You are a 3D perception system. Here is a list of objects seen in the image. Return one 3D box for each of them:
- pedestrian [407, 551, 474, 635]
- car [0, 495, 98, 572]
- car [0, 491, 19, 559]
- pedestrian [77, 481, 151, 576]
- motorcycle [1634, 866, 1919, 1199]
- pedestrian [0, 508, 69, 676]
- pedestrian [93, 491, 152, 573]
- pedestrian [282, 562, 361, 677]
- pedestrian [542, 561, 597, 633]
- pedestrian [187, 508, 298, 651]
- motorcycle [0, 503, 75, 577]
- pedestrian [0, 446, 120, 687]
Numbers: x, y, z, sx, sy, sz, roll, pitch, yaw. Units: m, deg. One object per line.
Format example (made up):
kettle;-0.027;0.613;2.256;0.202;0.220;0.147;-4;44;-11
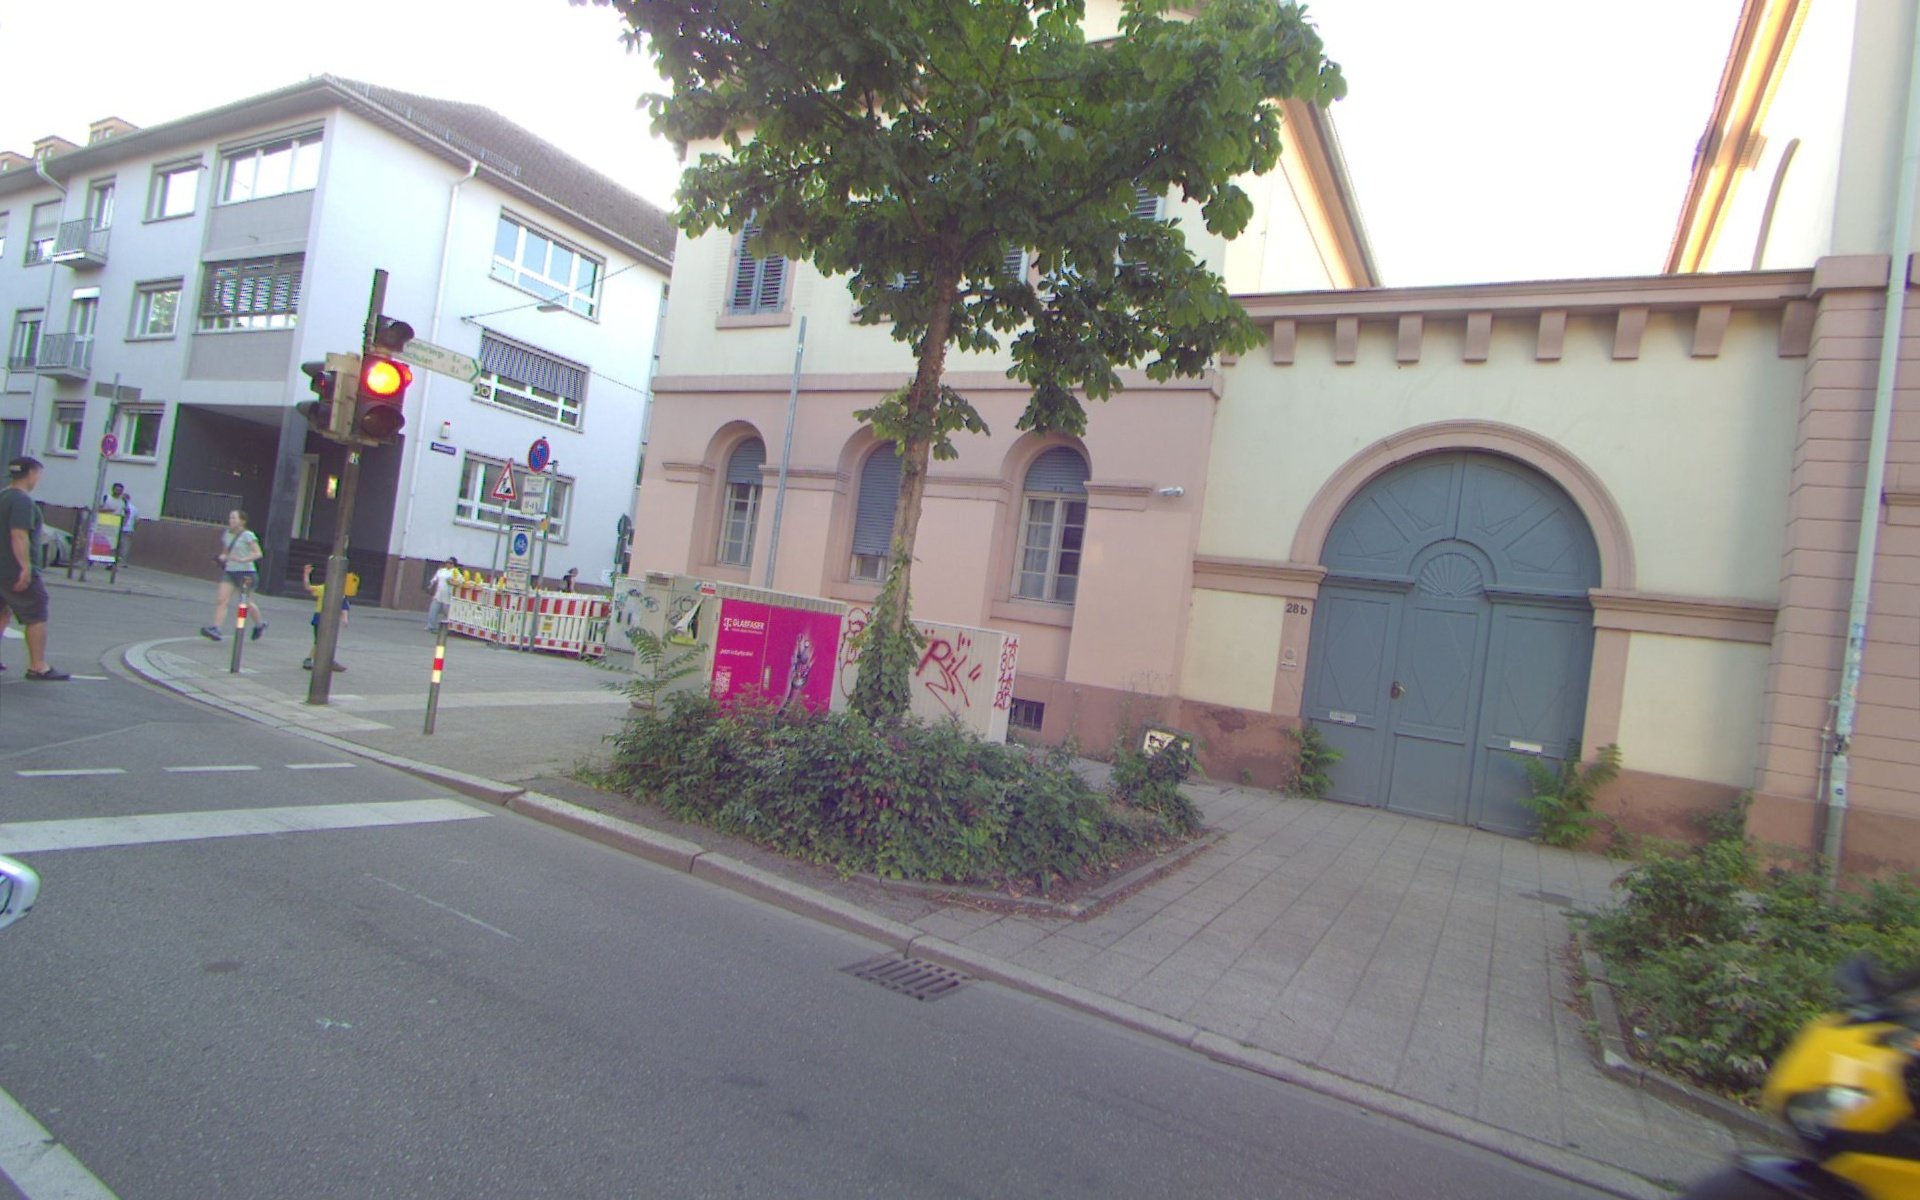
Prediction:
pedestrian;-10.172;-0.126;19.713;0.762;1.519;0.801;7;0;-5
car;-20.100;-1.539;20.052;1.678;1.358;4.022;7;-2;31
car;-22.588;-1.899;20.903;1.678;1.459;4.023;7;-2;30
pedestrian;-18.297;-1.540;21.758;0.928;1.862;0.768;8;-1;31
motorcycle;2.552;1.368;1.938;1.932;1.173;0.794;7;-2;27
pedestrian;-8.024;-0.081;8.470;0.498;1.351;0.540;8;-1;36
pedestrian;-19.737;-1.598;23.715;0.688;1.772;0.705;8;-1;35
pedestrian;-6.955;0.200;10.953;0.562;1.134;0.830;9;-1;-34
pedestrian;-10.561;-0.074;27.217;0.918;1.772;0.770;8;-1;31
pedestrian;-8.644;-0.243;12.168;0.692;1.575;0.975;9;-1;-23
motorcycle;-17.482;-1.157;18.379;0.604;1.213;1.799;7;-1;39
pedestrian;-7.666;-0.281;8.201;0.781;1.836;0.889;8;-1;35
